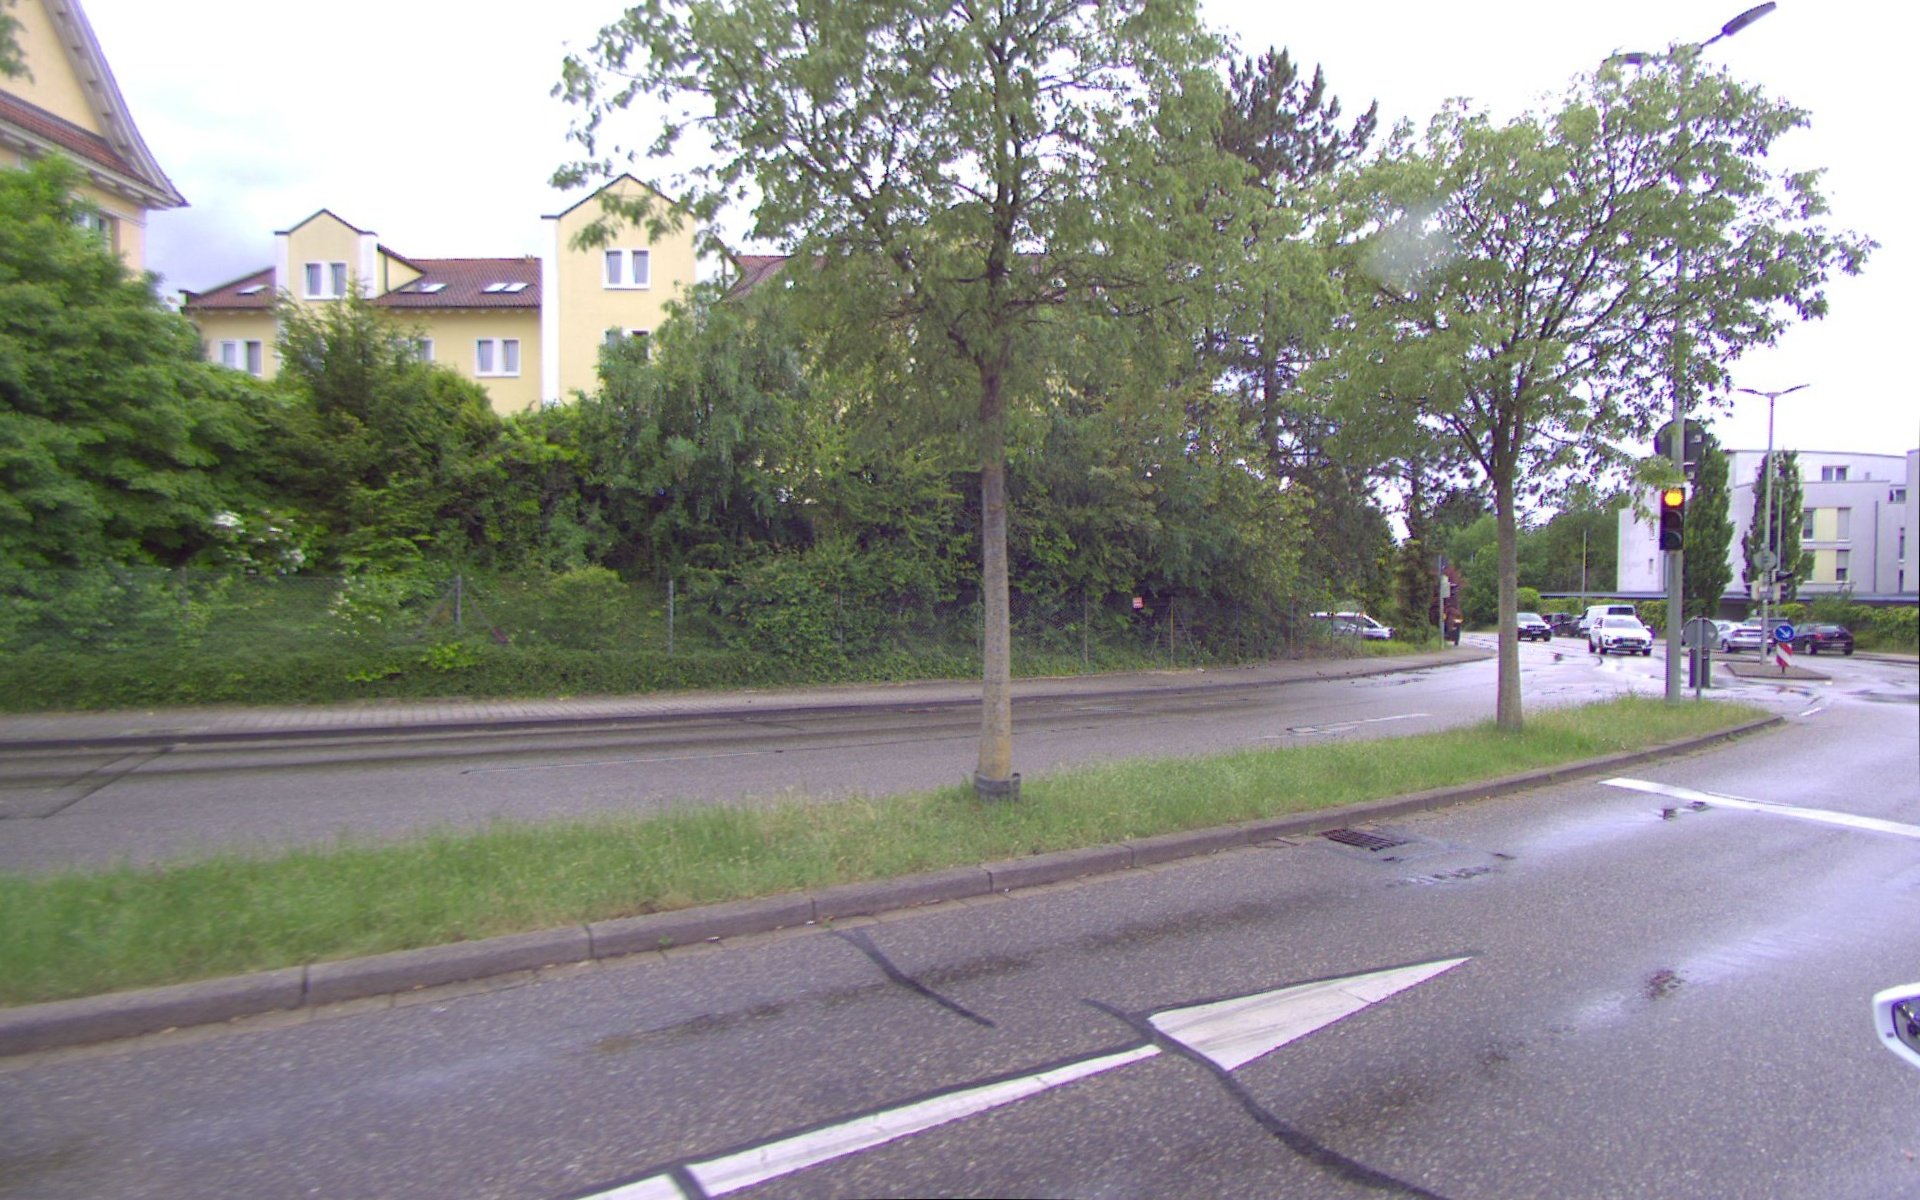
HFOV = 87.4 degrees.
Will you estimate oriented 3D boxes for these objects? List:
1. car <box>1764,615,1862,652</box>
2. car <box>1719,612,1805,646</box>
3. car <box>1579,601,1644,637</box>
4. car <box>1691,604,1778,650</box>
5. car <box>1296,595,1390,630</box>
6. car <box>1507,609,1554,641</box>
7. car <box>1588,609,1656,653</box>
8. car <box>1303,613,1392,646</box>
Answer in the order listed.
[{"bbox_3d":[39.830,1.547,47.022,1.960,1.576,4.001,0,0,15],"label":"car"},{"bbox_3d":[40.836,1.457,51.248,1.960,1.576,4.001,0,0,15],"label":"car"},{"bbox_3d":[46.021,1.377,71.123,2.549,2.445,5.258,0,-2,17],"label":"car"},{"bbox_3d":[35.721,1.193,46.474,1.960,1.782,3.999,1,4,19],"label":"car"},{"bbox_3d":[17.929,0.538,47.028,3.925,1.484,1.998,1,2,26],"label":"car"},{"bbox_3d":[36.262,1.547,63.964,1.961,1.840,3.999,1,1,20],"label":"car"},{"bbox_3d":[28.161,1.266,42.835,1.963,1.662,3.994,2,1,28],"label":"car"},{"bbox_3d":[17.007,1.284,44.103,3.520,1.258,1.651,1,2,26],"label":"car"}]
